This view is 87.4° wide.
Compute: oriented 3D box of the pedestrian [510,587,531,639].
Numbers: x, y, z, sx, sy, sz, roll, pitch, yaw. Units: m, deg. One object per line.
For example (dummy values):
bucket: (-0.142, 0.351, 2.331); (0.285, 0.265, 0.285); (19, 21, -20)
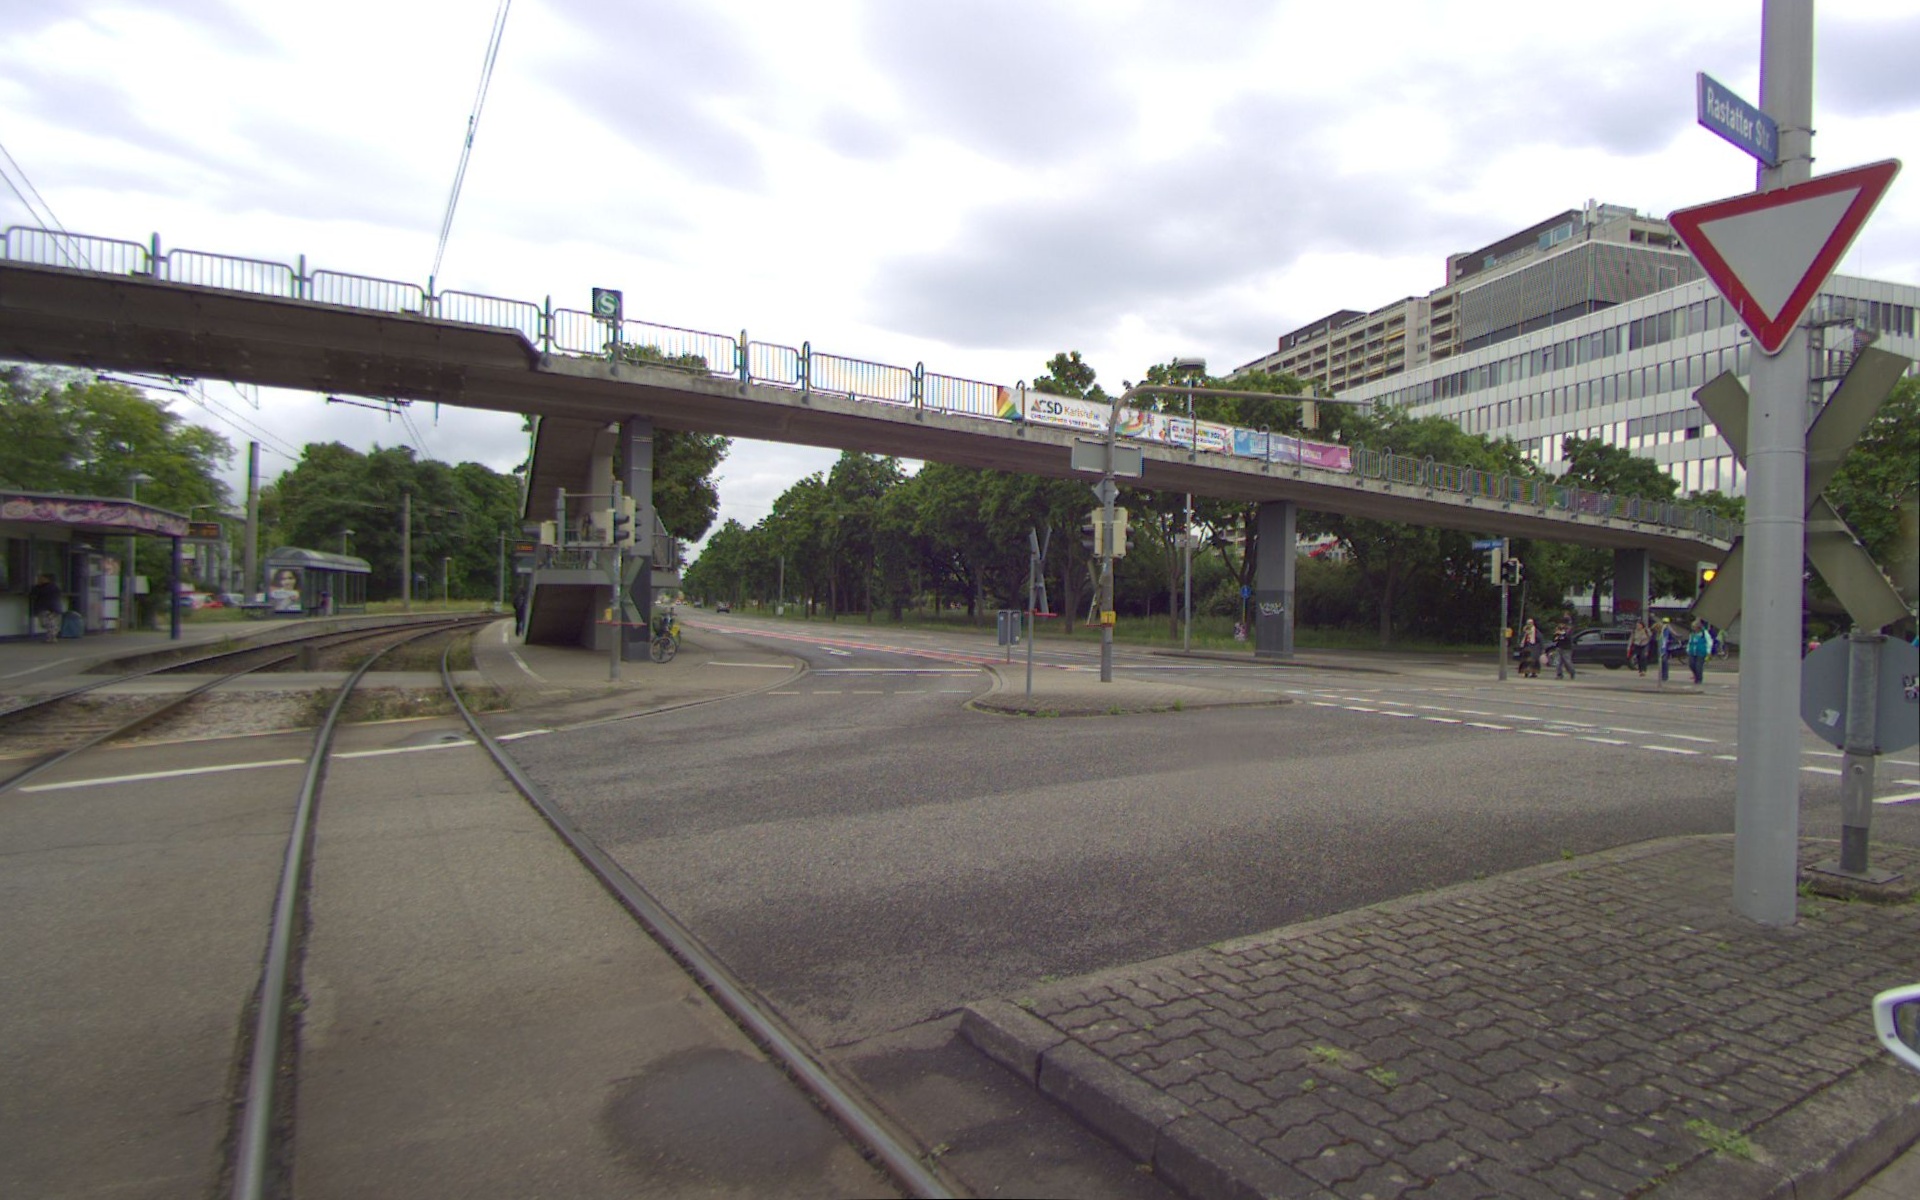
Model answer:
pedestrian: (-14.261, 0.414, 32.602); (0.594, 1.664, 0.659); (0, 0, -27)

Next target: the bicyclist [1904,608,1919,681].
bicyclist: (23.847, 1.086, 24.790); (0.639, 1.792, 0.640); (0, 0, -32)

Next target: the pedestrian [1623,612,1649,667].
pedestrian: (20.400, 1.178, 30.325); (0.572, 1.600, 0.778); (0, 0, 39)

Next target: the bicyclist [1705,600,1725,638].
bicyclist: (33.608, 0.845, 44.703); (0.525, 1.666, 0.562); (1, 0, -32)

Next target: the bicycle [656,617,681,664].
bicycle: (-6.365, 0.857, 21.907); (0.368, 0.934, 2.028); (0, 0, -20)

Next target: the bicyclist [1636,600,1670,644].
bicyclist: (30.618, 0.971, 44.378); (1.114, 1.918, 0.852); (-1, 1, -30)

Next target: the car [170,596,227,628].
car: (-42.290, 0.623, 55.885); (1.617, 1.709, 3.976); (1, 0, -24)

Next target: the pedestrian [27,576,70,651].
pedestrian: (-20.645, 0.297, 22.760); (0.535, 1.687, 0.682); (0, 1, -26)

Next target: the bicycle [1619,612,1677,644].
bicycle: (30.282, 1.225, 44.197); (3.192, 1.333, 0.852); (0, 1, -31)

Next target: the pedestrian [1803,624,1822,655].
pedestrian: (36.758, 1.691, 43.294); (0.453, 1.287, 0.497); (1, 0, -30)

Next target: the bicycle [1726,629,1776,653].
bicycle: (32.678, 1.685, 41.500); (1.925, 0.962, 0.760); (1, 0, -23)

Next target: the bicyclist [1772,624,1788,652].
bicyclist: (36.306, 1.669, 44.472); (0.561, 1.234, 0.428); (0, 0, -33)

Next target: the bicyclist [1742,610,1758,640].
bicyclist: (32.473, 1.019, 41.295); (0.373, 1.197, 0.403); (-1, 1, -30)

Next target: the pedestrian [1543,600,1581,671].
pedestrian: (15.891, 0.930, 26.503); (0.796, 1.828, 0.631); (0, 0, -41)

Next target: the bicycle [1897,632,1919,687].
bicycle: (23.963, 1.459, 24.925); (2.088, 1.284, 0.539); (0, 0, -33)

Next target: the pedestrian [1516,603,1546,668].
pedestrian: (15.335, 0.953, 26.976); (0.612, 1.714, 0.403); (1, 0, 44)

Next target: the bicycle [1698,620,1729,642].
bicycle: (33.301, 1.350, 44.392); (1.690, 0.962, 0.523); (1, 0, -32)

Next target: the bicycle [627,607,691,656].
bicycle: (-7.039, 0.722, 23.567); (0.345, 1.109, 1.612); (0, 0, 31)

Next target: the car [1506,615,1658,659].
car: (22.253, 1.297, 36.080); (4.308, 1.528, 1.673); (0, 0, 11)

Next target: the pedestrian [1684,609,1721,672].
pedestrian: (19.700, 1.057, 26.647); (0.483, 1.626, 0.682); (0, 0, -37)

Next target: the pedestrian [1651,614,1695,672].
pedestrian: (19.429, 1.163, 27.388); (0.401, 1.531, 0.908); (0, 0, -43)
